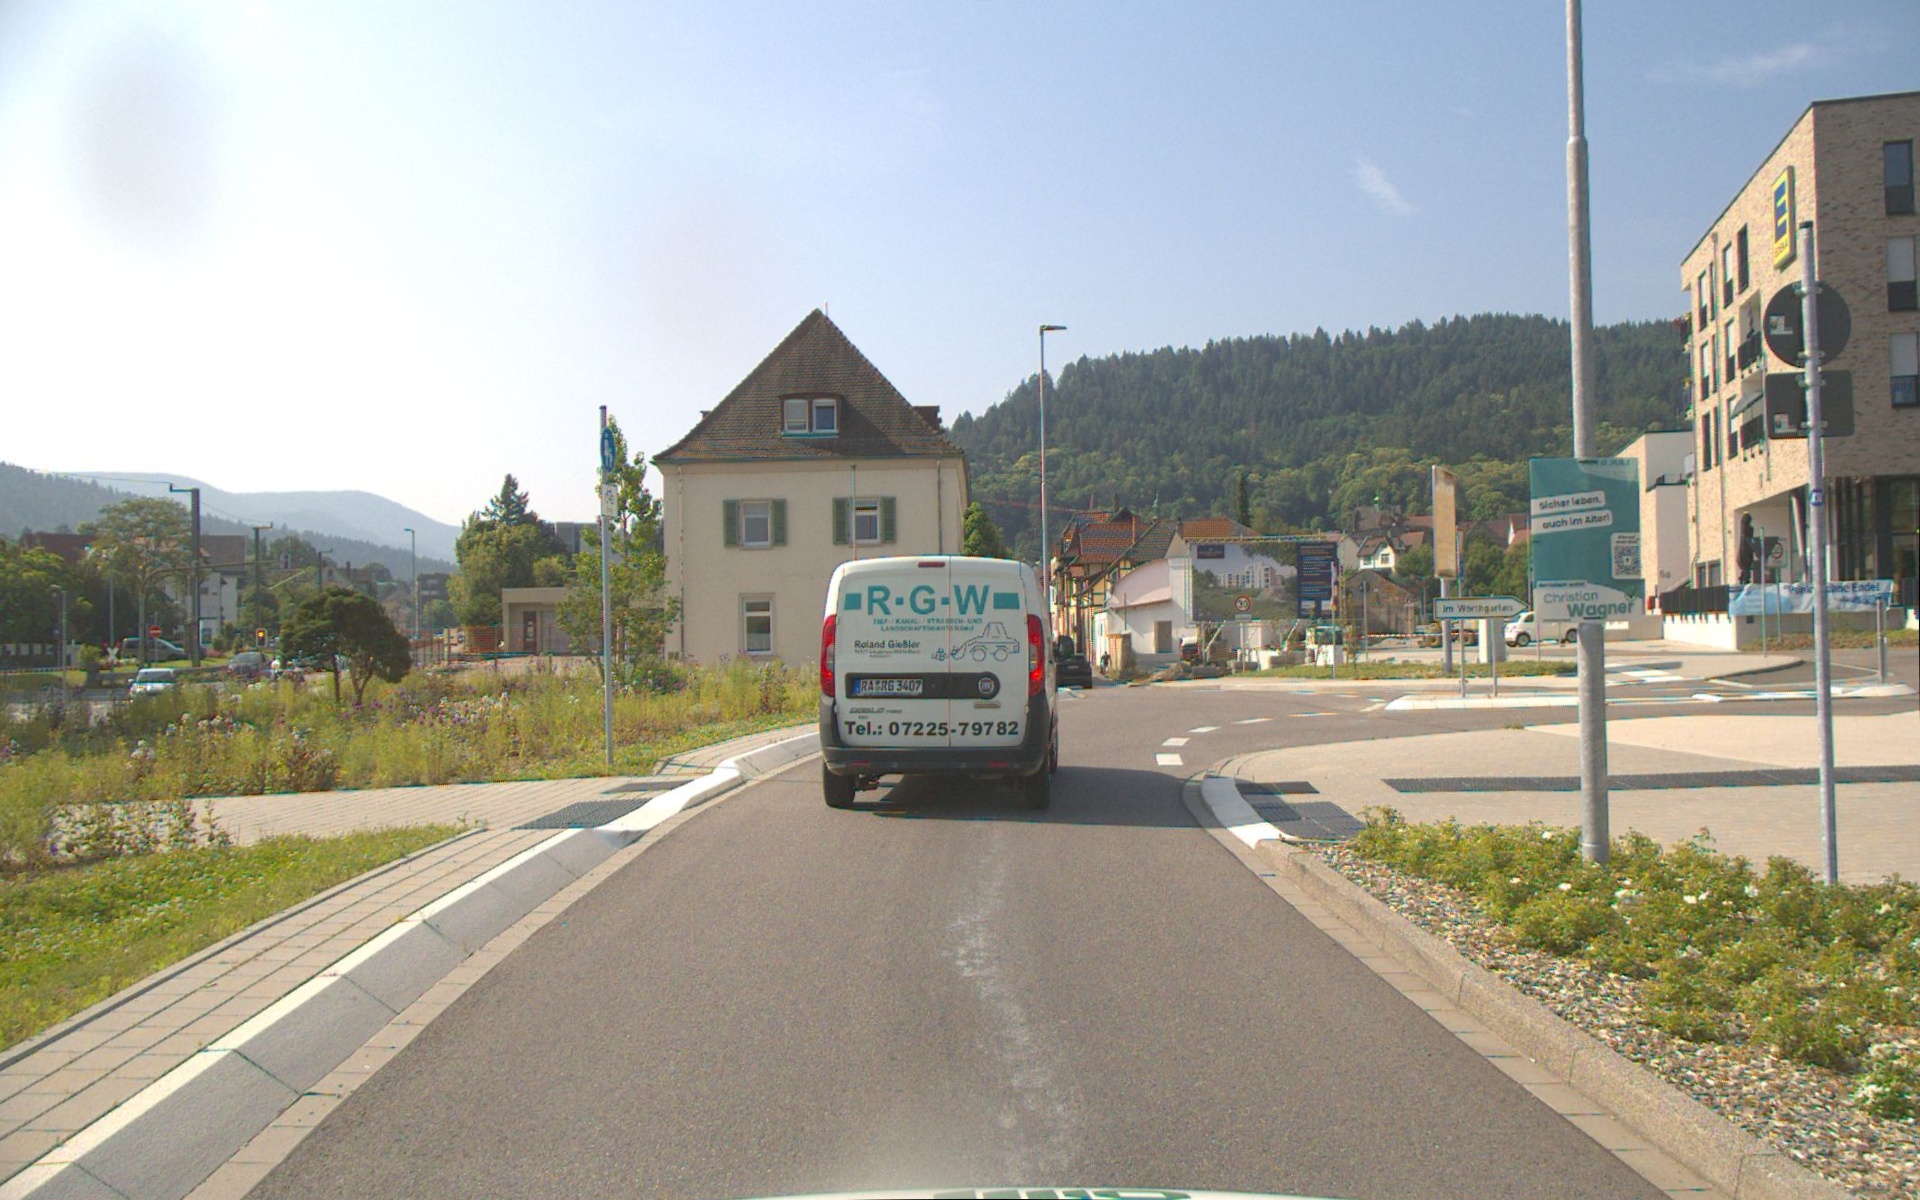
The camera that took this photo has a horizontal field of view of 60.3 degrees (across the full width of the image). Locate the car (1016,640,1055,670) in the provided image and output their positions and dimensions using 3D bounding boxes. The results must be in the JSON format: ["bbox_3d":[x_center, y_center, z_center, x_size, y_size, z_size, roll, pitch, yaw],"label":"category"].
[{"bbox_3d":[4.398,3.214,96.464,1.775,1.625,3.922,1,-1,-5],"label":"car"}]

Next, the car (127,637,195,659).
[{"bbox_3d":[-55.033,3.281,114.011,3.919,1.422,1.708,1,0,-14],"label":"car"}]

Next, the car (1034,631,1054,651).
[{"bbox_3d":[8.631,4.218,170.602,1.833,2.049,3.999,0,-1,0],"label":"car"}]

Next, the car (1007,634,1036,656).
[{"bbox_3d":[4.742,3.481,128.797,1.775,1.625,3.922,1,-1,-5],"label":"car"}]

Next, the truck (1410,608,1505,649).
[{"bbox_3d":[30.860,1.780,102.614,5.210,2.305,2.217,-4,-2,26],"label":"truck"}]

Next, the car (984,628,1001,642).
[{"bbox_3d":[4.013,4.290,201.968,1.774,1.625,3.924,1,-1,-3],"label":"car"}]

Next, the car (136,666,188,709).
[{"bbox_3d":[-30.794,3.352,63.760,1.651,1.558,3.963,-2,-2,-28],"label":"car"}]

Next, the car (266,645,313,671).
[{"bbox_3d":[-40.523,3.471,100.035,1.677,1.422,3.993,1,0,-8],"label":"car"}]

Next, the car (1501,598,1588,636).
[{"bbox_3d":[26.477,0.800,74.988,3.335,1.521,1.594,-2,-3,-1],"label":"car"}]

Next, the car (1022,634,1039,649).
[{"bbox_3d":[7.950,4.673,186.945,1.636,1.534,3.998,-2,-1,-2],"label":"car"}]

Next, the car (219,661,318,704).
[{"bbox_3d":[-26.684,3.163,63.818,3.919,1.422,1.708,1,0,35],"label":"car"}]

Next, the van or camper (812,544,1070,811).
[{"bbox_3d":[-0.005,0.613,13.881,1.789,1.877,4.190,-1,-2,4],"label":"van or camper"}]

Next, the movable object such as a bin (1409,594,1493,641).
[{"bbox_3d":[29.543,1.067,99.521,4.521,2.614,1.923,-4,-2,26],"label":"movable object such as a bin"}]

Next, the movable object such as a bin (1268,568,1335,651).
[{"bbox_3d":[17.003,0.557,82.815,2.247,3.922,7.801,1,-2,4],"label":"movable object such as a bin"}]

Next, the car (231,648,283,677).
[{"bbox_3d":[-39.143,3.462,92.164,1.677,1.422,3.993,1,0,-8],"label":"car"}]

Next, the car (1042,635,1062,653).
[{"bbox_3d":[8.915,4.244,160.532,1.773,1.625,3.926,1,-1,1],"label":"car"}]

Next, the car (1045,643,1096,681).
[{"bbox_3d":[5.105,2.866,76.917,1.775,1.625,3.922,1,-1,-5],"label":"car"}]

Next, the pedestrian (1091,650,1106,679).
[{"bbox_3d":[8.482,3.958,101.556,0.870,1.713,0.718,0,-2,0],"label":"pedestrian"}]
